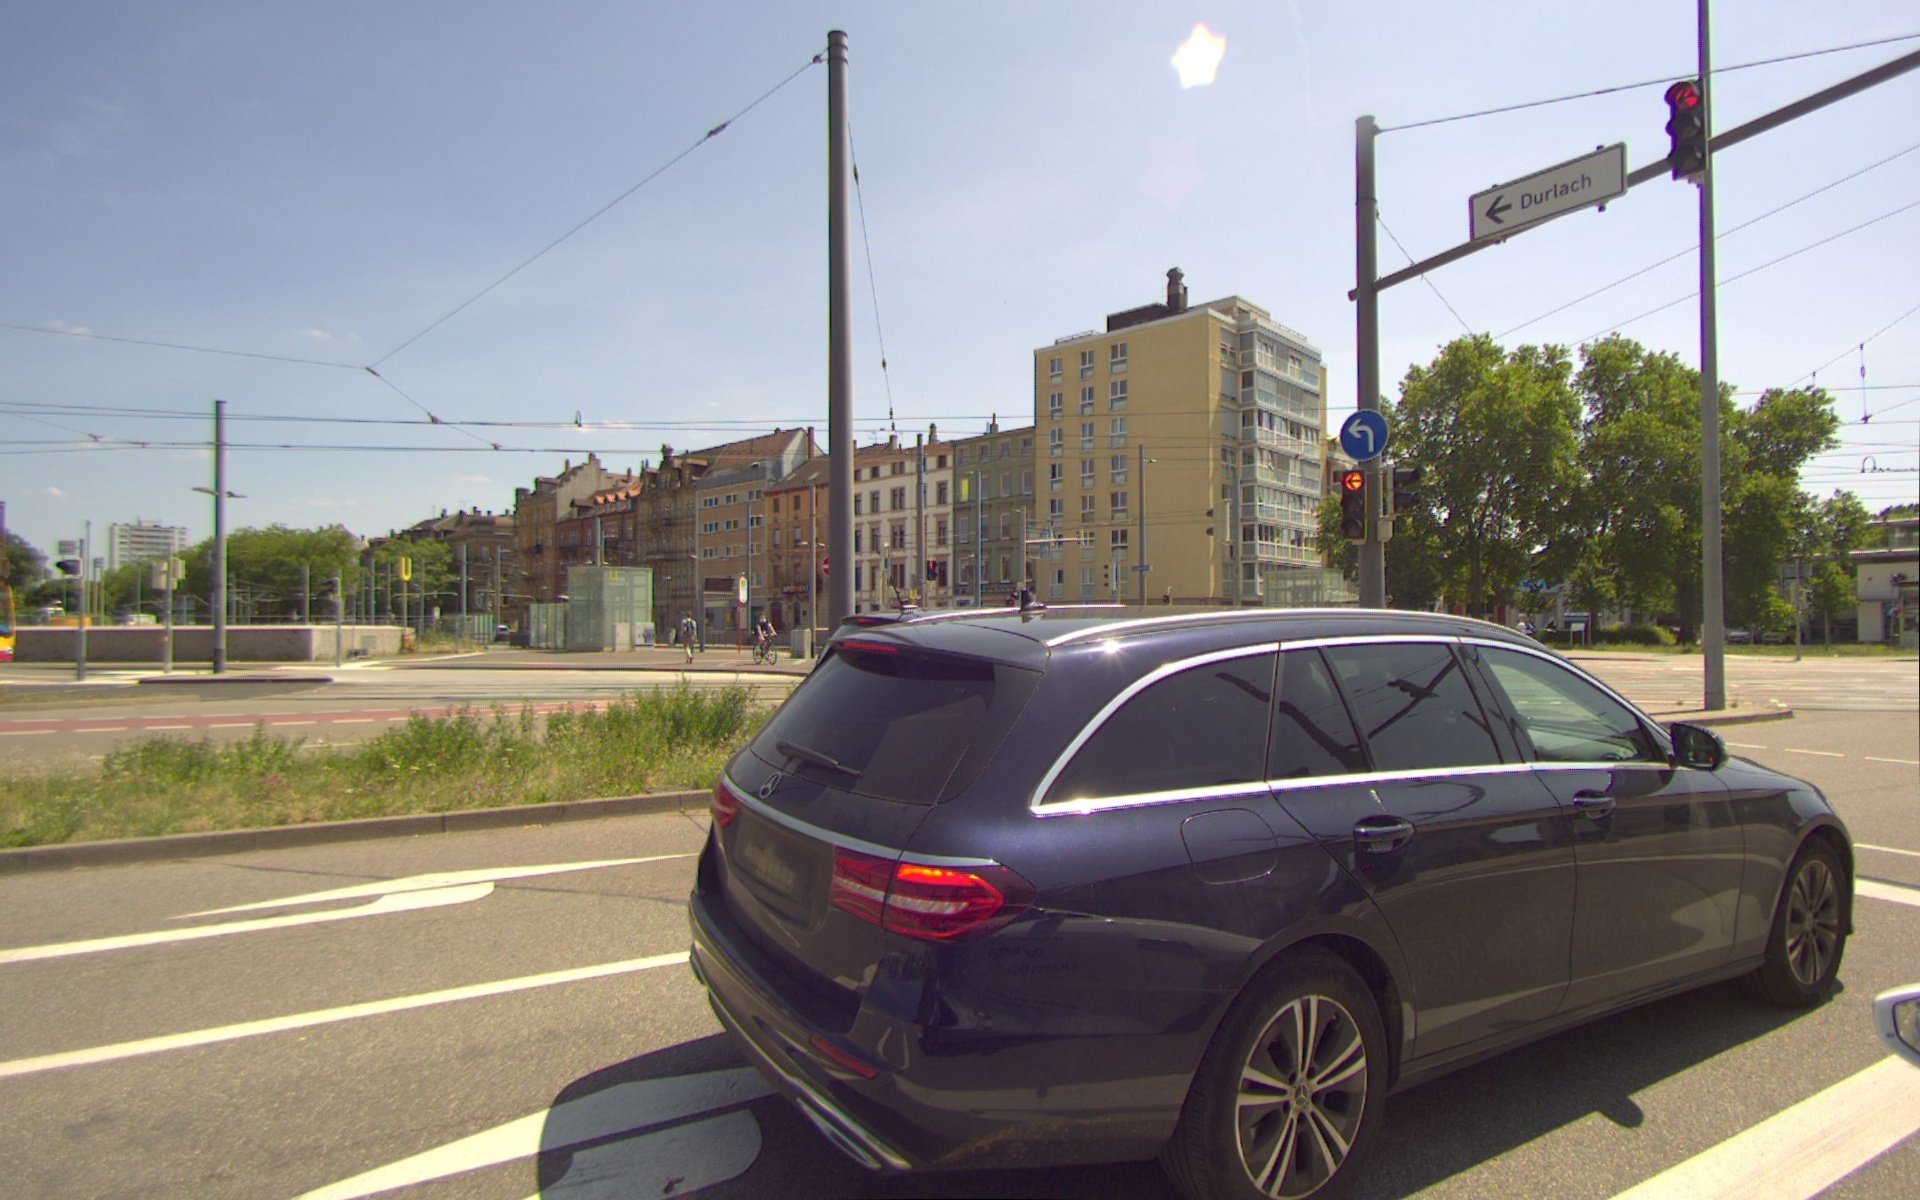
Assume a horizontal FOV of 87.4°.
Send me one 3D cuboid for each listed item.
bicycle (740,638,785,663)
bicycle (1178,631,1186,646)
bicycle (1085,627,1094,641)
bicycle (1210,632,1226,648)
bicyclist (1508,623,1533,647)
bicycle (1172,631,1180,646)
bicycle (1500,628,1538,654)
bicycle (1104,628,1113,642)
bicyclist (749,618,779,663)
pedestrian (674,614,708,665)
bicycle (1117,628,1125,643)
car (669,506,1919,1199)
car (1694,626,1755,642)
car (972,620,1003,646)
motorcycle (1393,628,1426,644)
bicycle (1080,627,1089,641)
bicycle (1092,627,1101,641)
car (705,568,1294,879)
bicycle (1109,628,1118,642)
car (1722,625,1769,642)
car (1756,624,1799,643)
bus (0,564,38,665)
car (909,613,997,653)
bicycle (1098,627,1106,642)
[{"bbox_3d":[-7.014,1.776,35.656,1.874,0.866,0.625,-1,-2,44],"label":"bicycle"},{"bbox_3d":[15.387,2.677,69.566,0.424,1.040,1.445,0,-1,16],"label":"bicycle"},{"bbox_3d":[9.685,2.530,74.973,0.424,1.040,1.445,0,-1,16],"label":"bicycle"},{"bbox_3d":[17.803,2.748,69.315,0.427,1.040,1.435,-1,-1,43],"label":"bicycle"},{"bbox_3d":[27.658,1.705,49.578,0.915,1.157,0.713,-1,-2,43],"label":"bicyclist"},{"bbox_3d":[15.015,2.667,69.828,0.424,1.040,1.445,0,-1,16],"label":"bicycle"},{"bbox_3d":[27.609,2.011,49.627,1.489,1.233,0.713,-1,-2,43],"label":"bicycle"},{"bbox_3d":[10.923,2.562,73.940,0.424,1.040,1.445,0,-1,16],"label":"bicycle"},{"bbox_3d":[-6.979,1.433,35.703,0.436,1.549,1.237,1,-2,-44],"label":"bicyclist"},{"bbox_3d":[-9.888,1.432,36.878,1.114,1.837,0.677,-1,-1,37],"label":"pedestrian"},{"bbox_3d":[11.761,2.585,73.290,0.424,1.040,1.445,0,-1,16],"label":"bicycle"},{"bbox_3d":[1.536,0.695,3.723,4.748,1.662,1.789,1,0,-30],"label":"car"},{"bbox_3d":[71.793,3.191,94.392,4.245,1.530,1.771,-1,-1,25],"label":"car"},{"bbox_3d":[1.913,2.348,71.472,1.803,1.773,3.998,0,-1,-4],"label":"car"},{"bbox_3d":[28.885,2.304,64.606,1.886,0.974,0.524,-1,-1,30],"label":"motorcycle"},{"bbox_3d":[9.341,2.521,75.309,0.424,1.040,1.445,0,-1,16],"label":"bicycle"},{"bbox_3d":[10.116,2.541,74.539,0.424,1.040,1.445,0,-1,16],"label":"bicycle"},{"bbox_3d":[0.320,0.676,6.864,3.693,1.597,1.736,1,-1,-30],"label":"car"},{"bbox_3d":[11.242,2.570,73.545,0.424,1.040,1.445,0,-1,16],"label":"bicycle"},{"bbox_3d":[69.064,2.929,88.313,4.275,1.530,1.759,1,-2,-30],"label":"car"},{"bbox_3d":[70.013,2.846,85.993,4.283,1.530,1.755,1,-2,-35],"label":"car"},{"bbox_3d":[-34.847,0.425,29.685,11.985,3.056,2.856,0,-1,-4],"label":"bus"},{"bbox_3d":[-0.425,1.778,54.985,4.803,2.084,1.989,-1,-2,43],"label":"car"},{"bbox_3d":[10.479,2.550,74.233,0.424,1.040,1.445,0,-1,16],"label":"bicycle"}]
